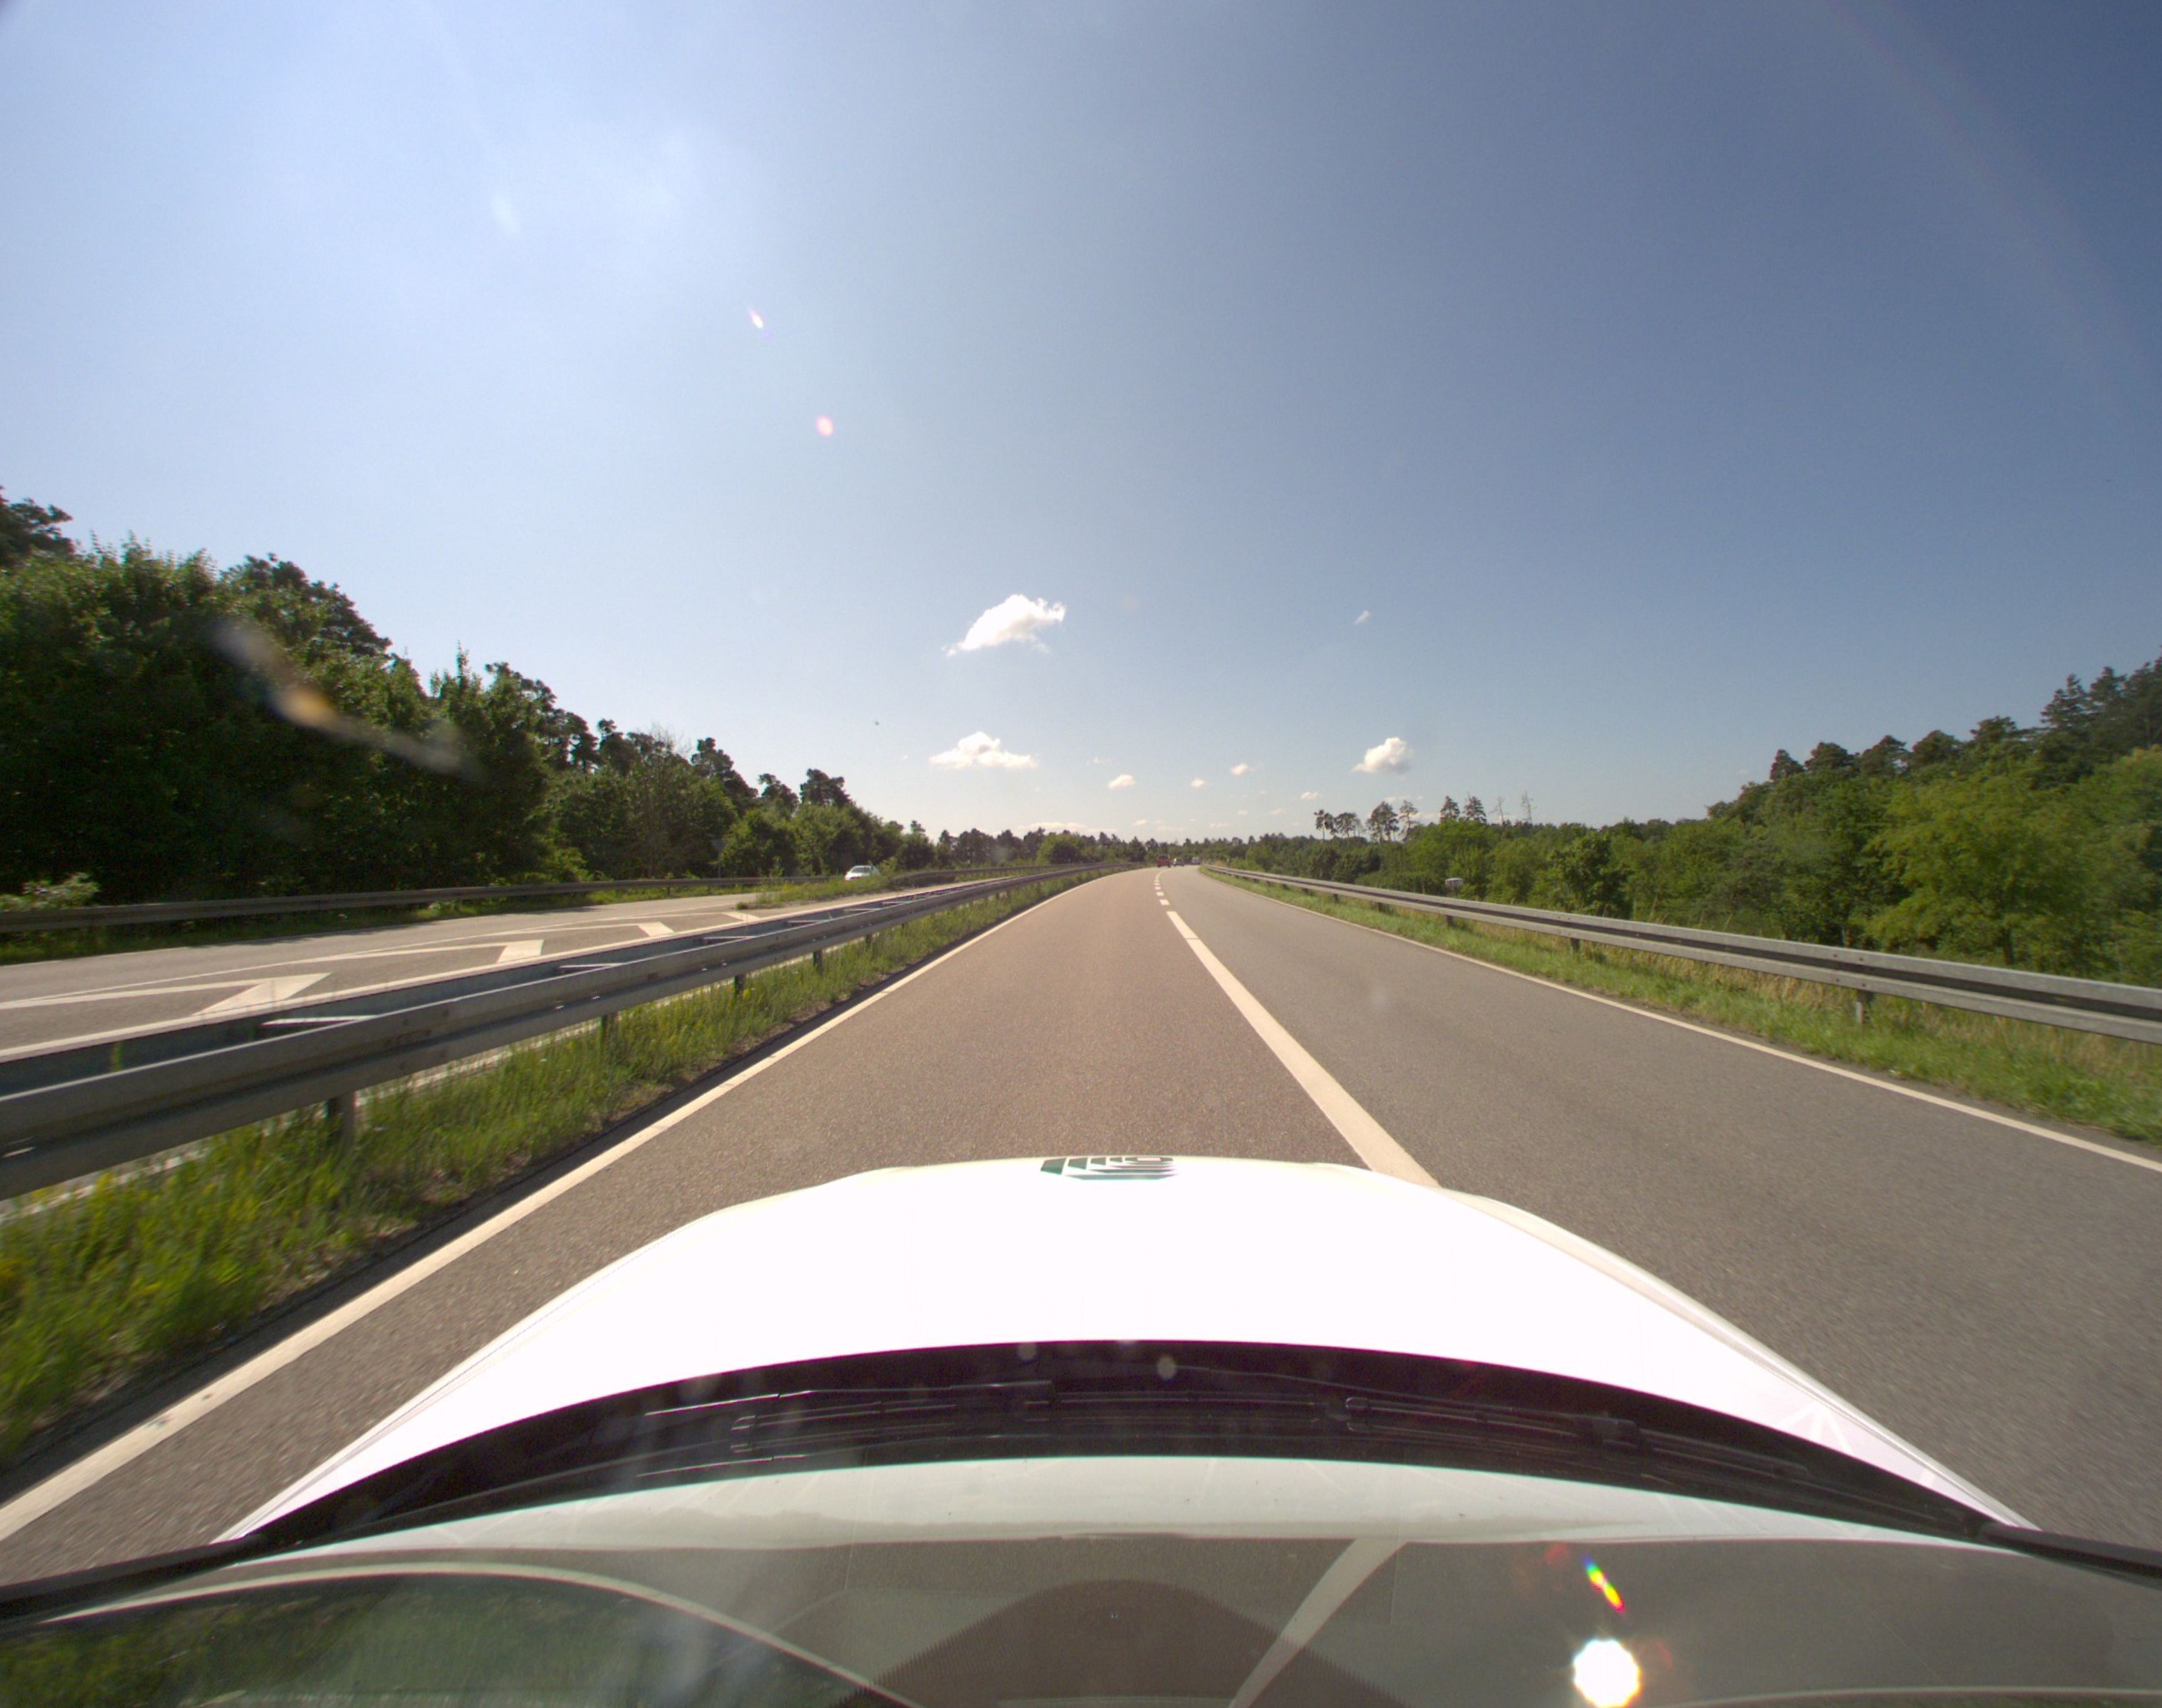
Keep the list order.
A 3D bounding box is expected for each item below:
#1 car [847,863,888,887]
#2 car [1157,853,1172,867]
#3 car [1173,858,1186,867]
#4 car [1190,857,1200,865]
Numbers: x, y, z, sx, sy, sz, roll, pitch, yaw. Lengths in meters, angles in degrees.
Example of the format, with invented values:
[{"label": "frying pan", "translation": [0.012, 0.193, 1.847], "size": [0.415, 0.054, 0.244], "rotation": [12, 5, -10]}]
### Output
[{"label": "car", "translation": [-13.972, 1.370, 53.471], "size": [1.674, 1.428, 4.208], "rotation": [-1, 0, -2]}, {"label": "car", "translation": [13.005, 0.966, 126.495], "size": [2.064, 1.993, 5.125], "rotation": [0, -1, 10]}, {"label": "car", "translation": [17.972, 1.542, 148.302], "size": [1.995, 1.494, 4.250], "rotation": [0, -1, 10]}, {"label": "car", "translation": [28.026, 1.781, 199.881], "size": [2.170, 1.955, 5.822], "rotation": [0, -1, 12]}]
